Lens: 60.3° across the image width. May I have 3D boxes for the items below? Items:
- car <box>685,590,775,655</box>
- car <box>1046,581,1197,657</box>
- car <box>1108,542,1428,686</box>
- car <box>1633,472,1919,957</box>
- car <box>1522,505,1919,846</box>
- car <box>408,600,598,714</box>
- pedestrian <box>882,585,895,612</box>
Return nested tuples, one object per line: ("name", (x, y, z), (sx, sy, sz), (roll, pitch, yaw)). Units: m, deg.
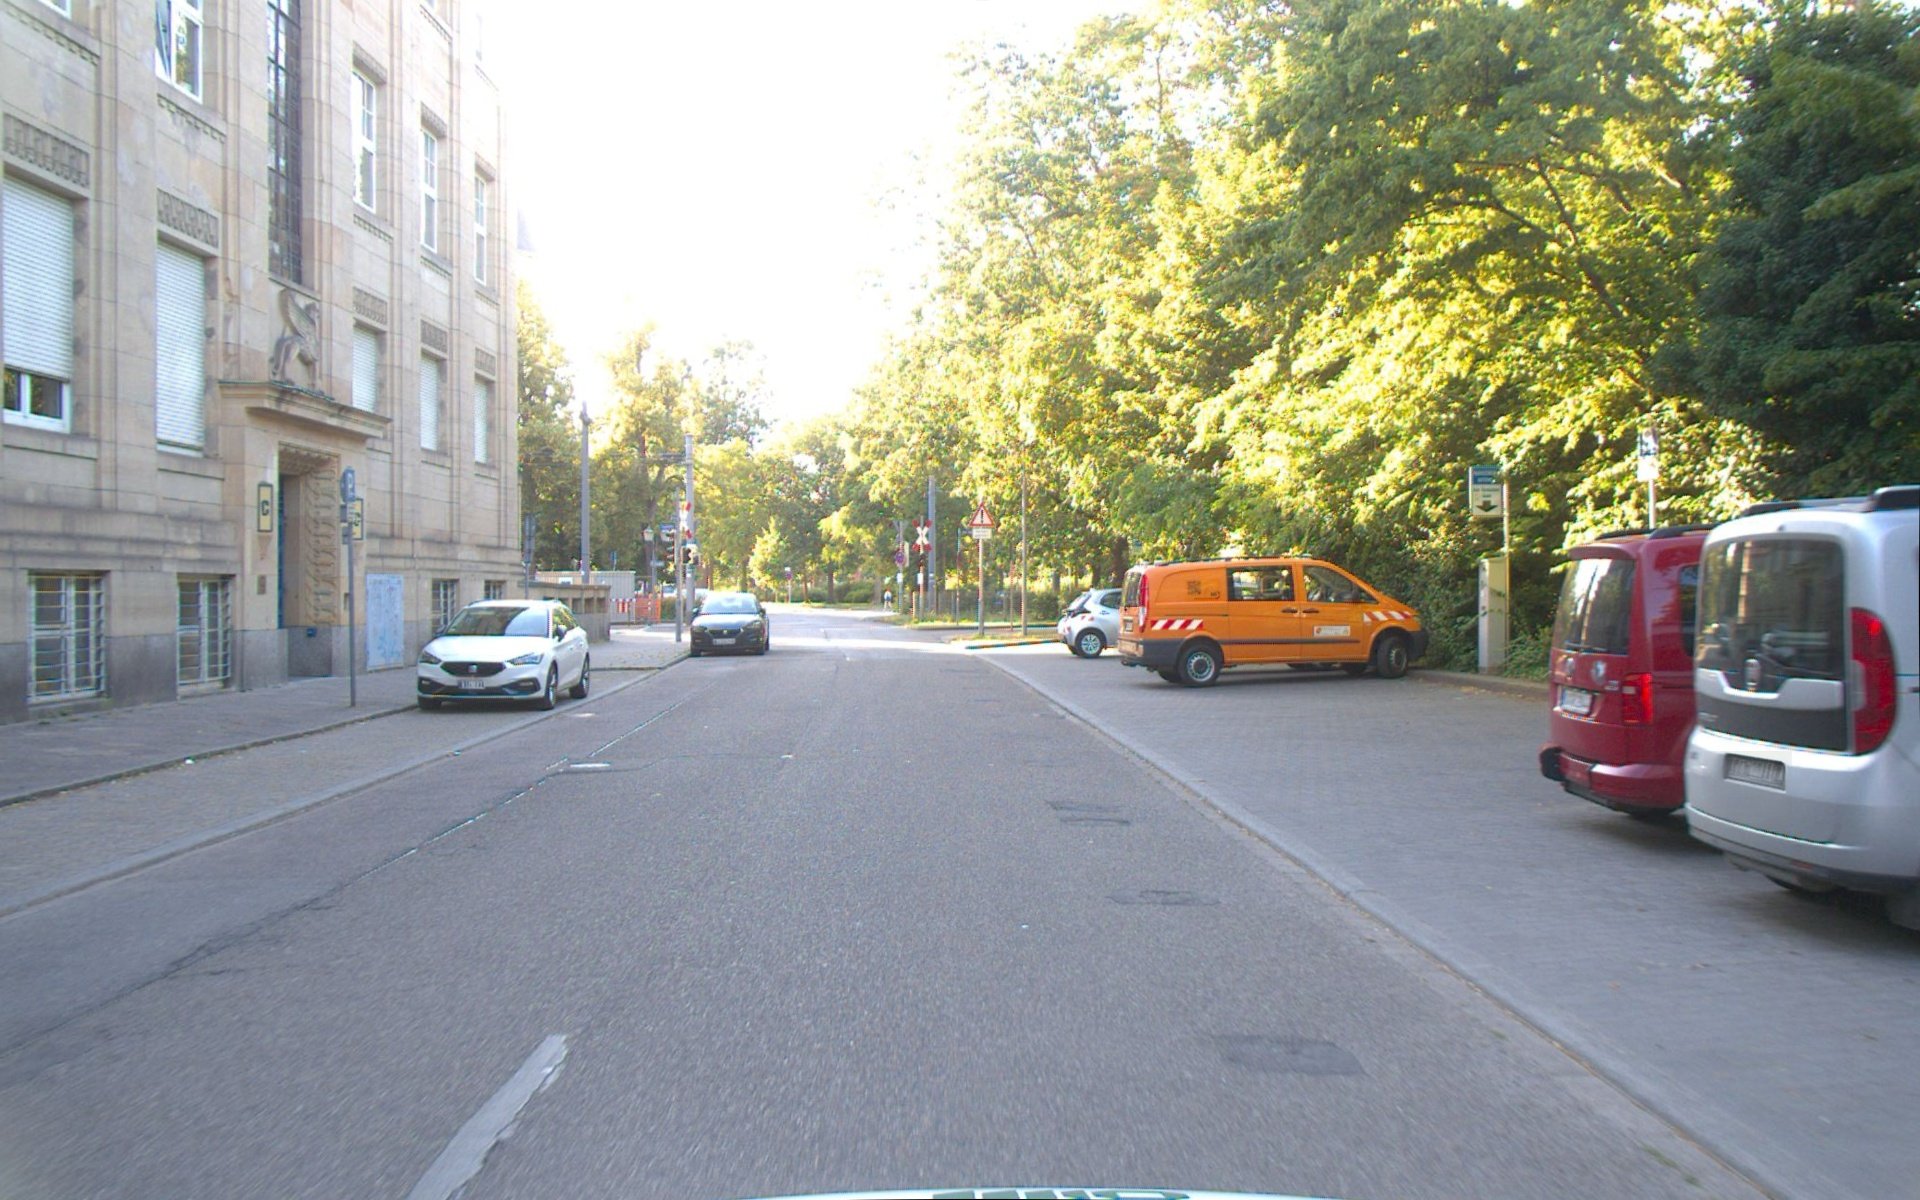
("car", (-5.583, 0.509, 40.574), (1.841, 1.492, 4.370), (0, 1, -3))
("car", (3.609, 0.412, 37.281), (3.084, 1.529, 1.538), (-2, 0, -7))
("car", (4.937, 0.205, 26.781), (4.727, 2.049, 1.799), (-2, 0, -7))
("car", (5.540, 0.390, 7.483), (4.142, 1.892, 2.000), (-2, 0, 0))
("car", (5.703, 0.386, 10.126), (3.941, 1.868, 1.614), (-2, 0, 0))
("car", (-6.307, 0.728, 23.294), (1.693, 1.421, 4.370), (0, 0, -3))
("pedestrian", (-4.897, -0.095, 112.660), (0.809, 1.751, 0.875), (0, -2, 1))
